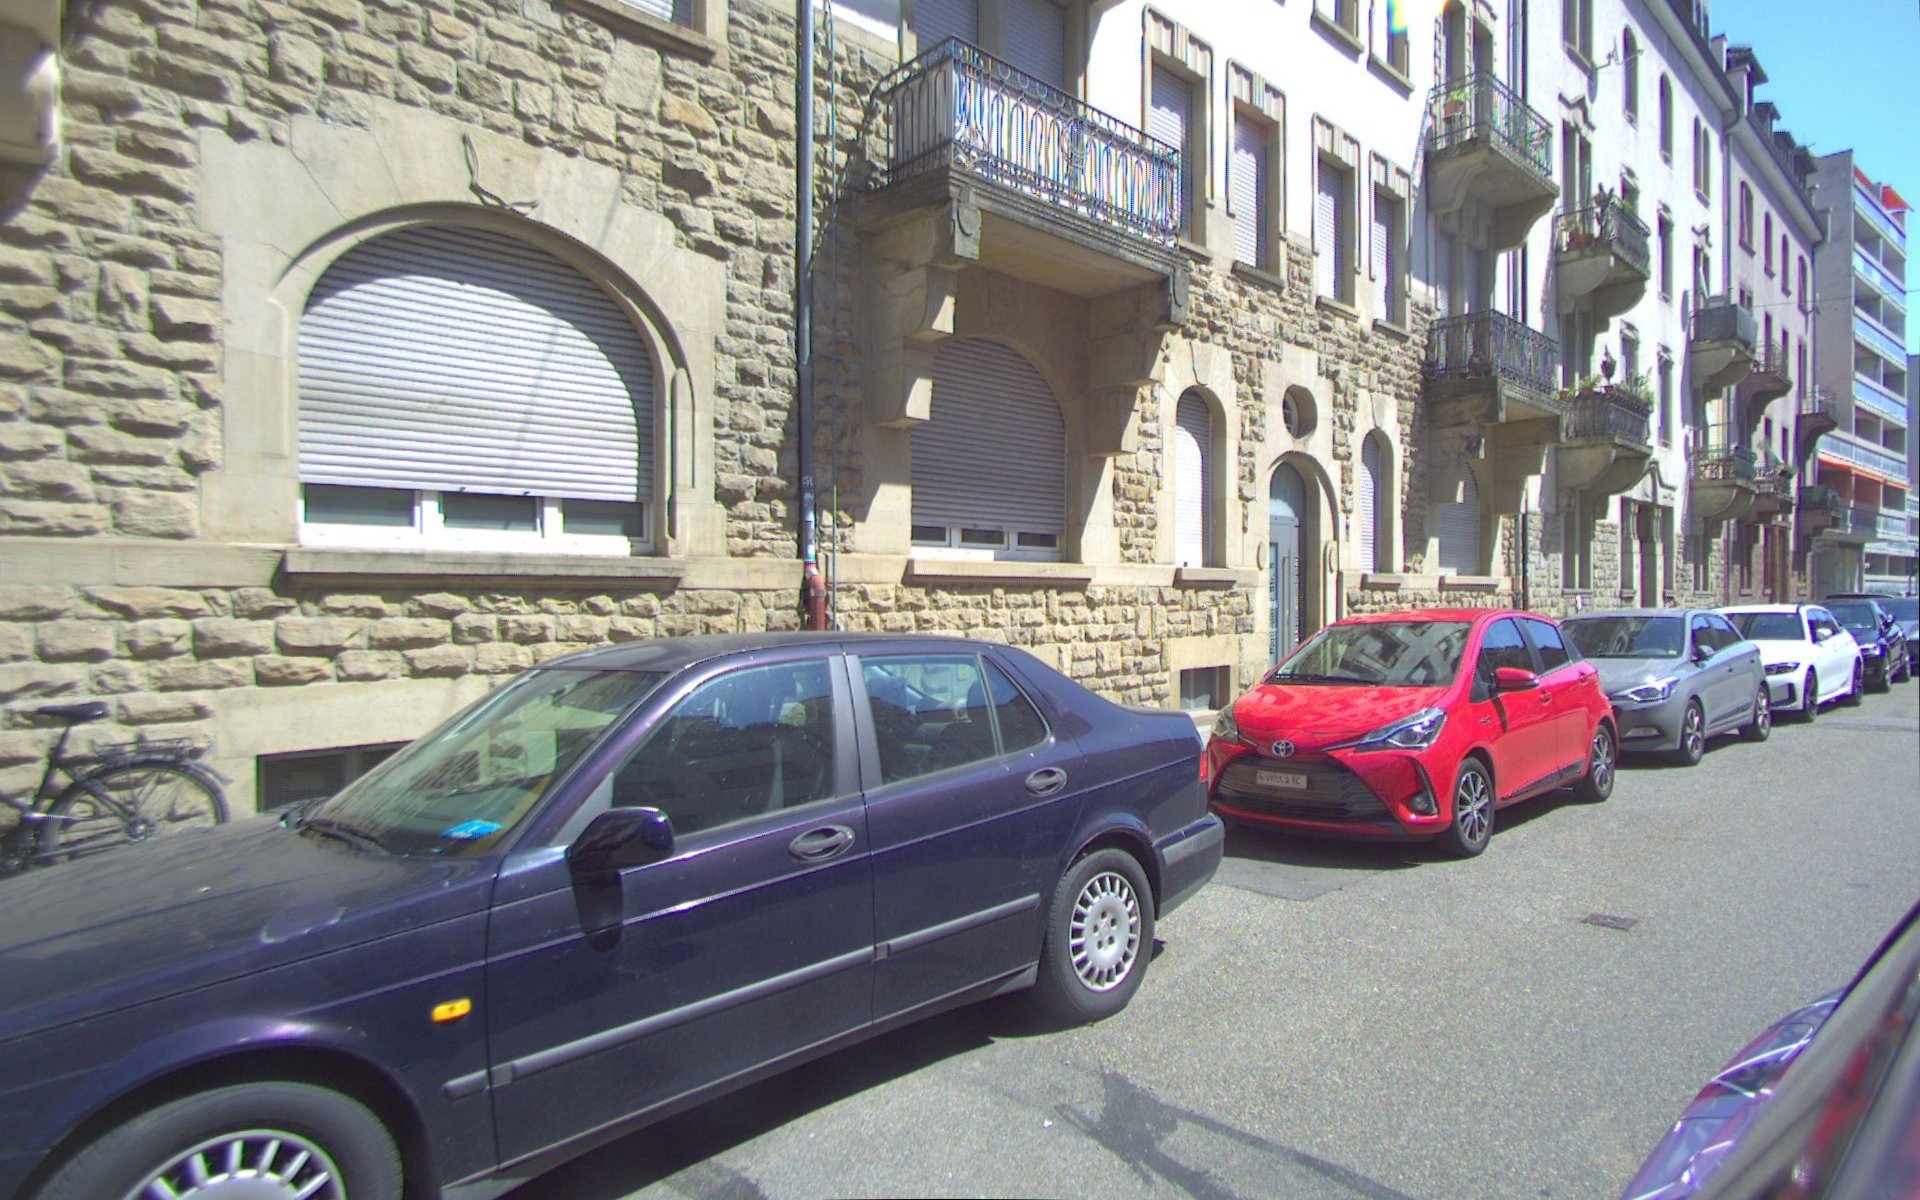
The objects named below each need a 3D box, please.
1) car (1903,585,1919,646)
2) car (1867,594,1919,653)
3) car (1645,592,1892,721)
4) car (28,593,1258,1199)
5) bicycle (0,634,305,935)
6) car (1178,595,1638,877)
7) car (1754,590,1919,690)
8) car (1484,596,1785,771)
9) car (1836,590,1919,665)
[{"bbox_3d":[27.897,0.393,28.230,4.016,1.642,1.653,-1,1,-37],"label":"car"},{"bbox_3d":[24.042,0.545,25.121,4.276,1.375,1.789,0,1,-41],"label":"car"},{"bbox_3d":[11.328,0.682,14.070,4.515,1.471,1.719,-1,-1,-39],"label":"car"},{"bbox_3d":[-0.653,0.727,3.599,3.906,1.416,1.513,-1,-1,-44],"label":"car"},{"bbox_3d":[-4.054,0.808,4.622,1.744,1.223,0.442,-1,1,-40],"label":"bicycle"},{"bbox_3d":[3.379,0.749,7.304,3.777,1.471,1.572,-1,-1,-42],"label":"car"},{"bbox_3d":[15.442,0.586,17.637,4.588,1.476,1.739,-1,1,-41],"label":"car"},{"bbox_3d":[7.196,0.749,10.673,3.788,1.471,1.592,-1,-1,-40],"label":"car"},{"bbox_3d":[19.971,0.518,21.350,4.414,1.450,1.825,0,0,-44],"label":"car"}]
